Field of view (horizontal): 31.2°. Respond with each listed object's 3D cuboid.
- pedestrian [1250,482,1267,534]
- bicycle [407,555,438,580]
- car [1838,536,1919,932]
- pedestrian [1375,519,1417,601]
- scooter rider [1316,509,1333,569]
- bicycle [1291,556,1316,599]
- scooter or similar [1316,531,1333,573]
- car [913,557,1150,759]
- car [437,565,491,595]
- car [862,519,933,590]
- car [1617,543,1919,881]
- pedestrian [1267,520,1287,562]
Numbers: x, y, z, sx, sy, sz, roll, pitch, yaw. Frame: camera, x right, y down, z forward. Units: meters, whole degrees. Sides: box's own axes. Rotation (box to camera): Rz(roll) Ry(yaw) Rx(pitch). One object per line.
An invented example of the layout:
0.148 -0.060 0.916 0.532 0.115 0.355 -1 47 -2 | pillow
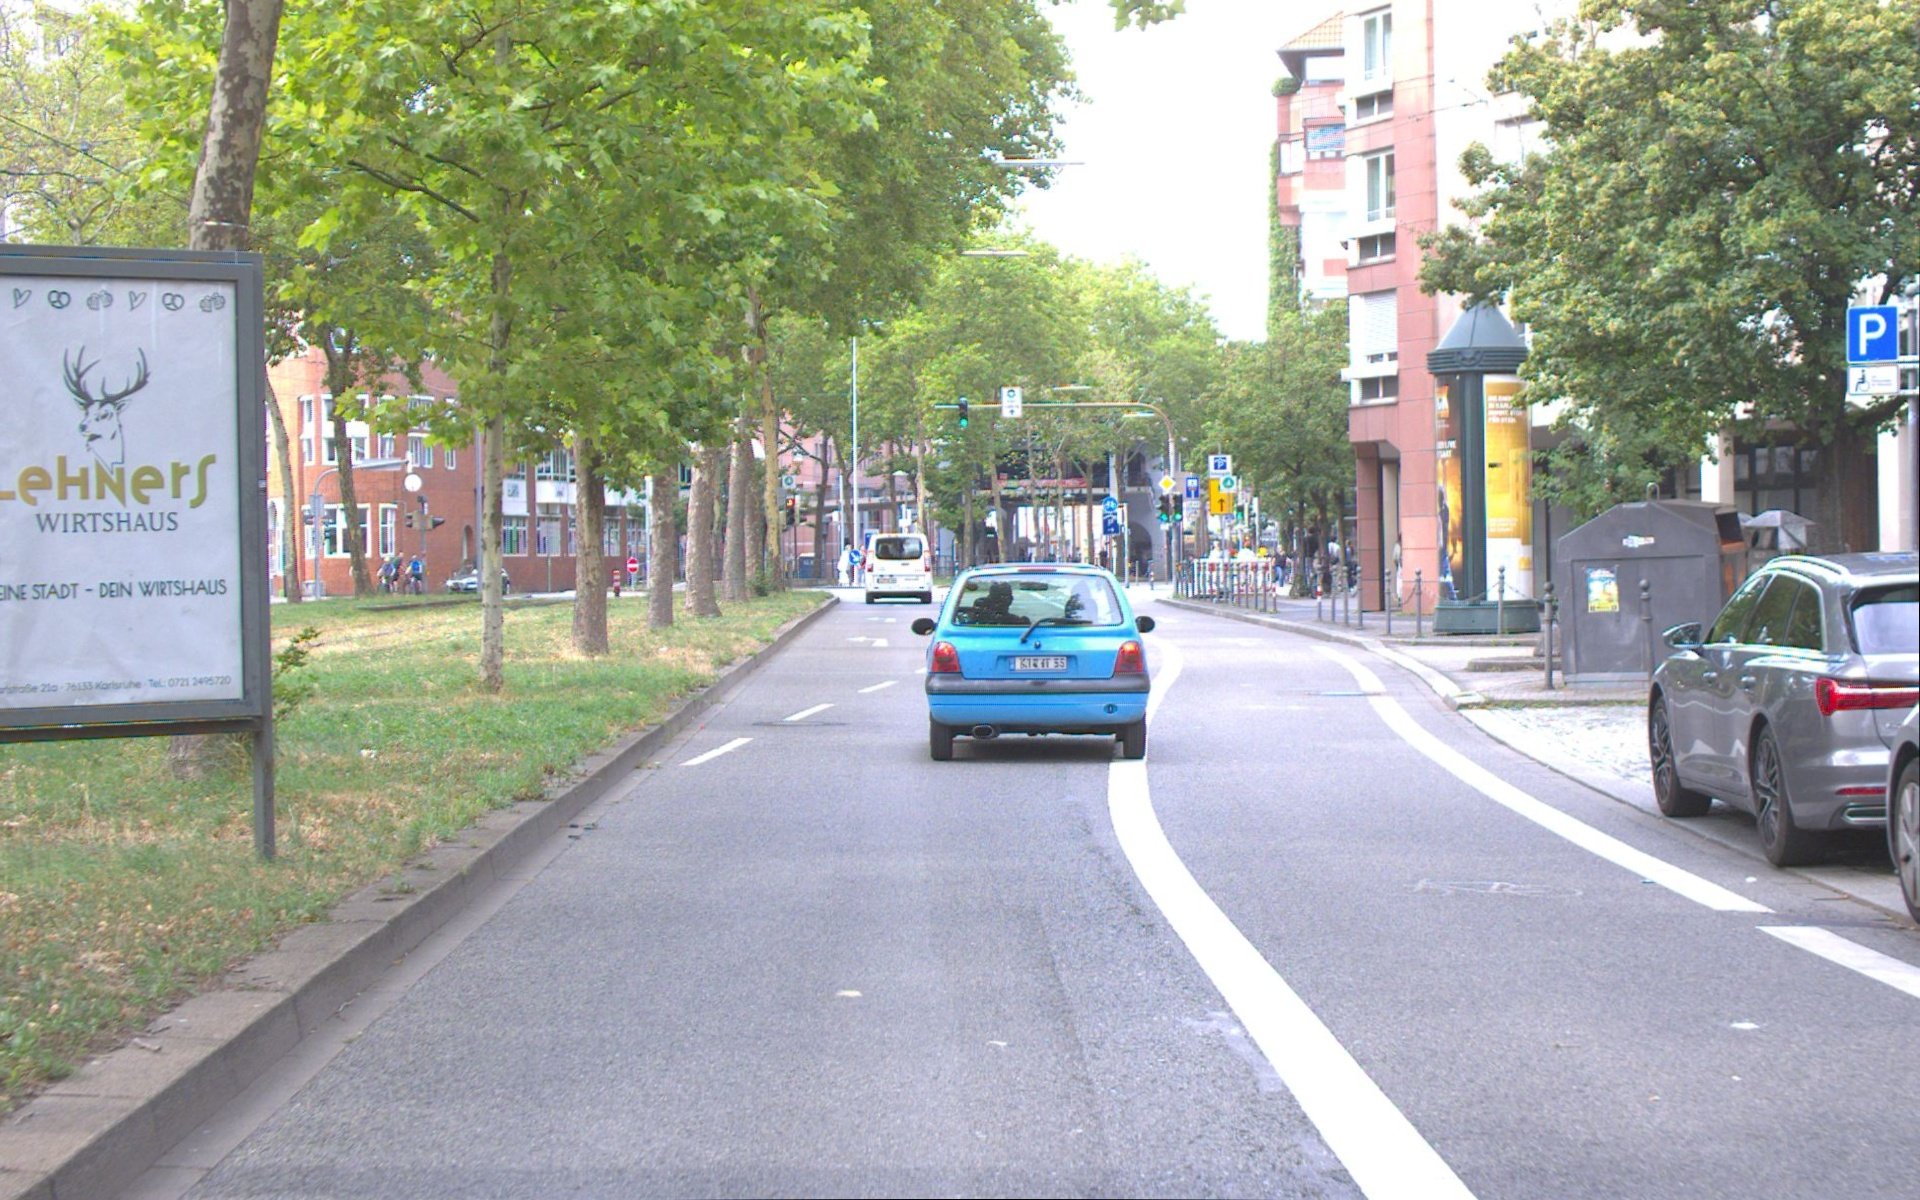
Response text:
9.378 -2.890 107.963 0.517 1.610 0.850 -1 1 5 | pedestrian
-23.199 -1.403 148.515 0.691 1.088 1.876 0 1 12 | bicycle
4.537 0.516 12.147 1.740 1.513 4.401 -2 1 1 | car
8.767 -0.802 69.082 0.544 1.644 0.824 0 1 31 | pedestrian
10.544 -1.769 99.472 0.463 1.714 0.553 0 0 5 | scooter rider
9.115 -0.606 91.210 0.612 1.114 1.804 0 1 7 | bicycle
10.526 -1.386 99.196 0.474 1.202 1.330 0 1 6 | scooter or similar
0.497 0.376 25.769 1.640 1.381 3.843 0 1 0 | car
-21.053 -0.850 146.040 1.729 1.241 4.535 -1 1 -1 | car
-1.724 -1.297 96.393 1.931 1.919 4.956 -1 1 0 | car
4.659 0.459 17.561 1.817 1.437 4.666 -2 1 2 | car
11.571 -2.154 125.344 0.676 1.533 0.947 -1 0 7 | pedestrian
